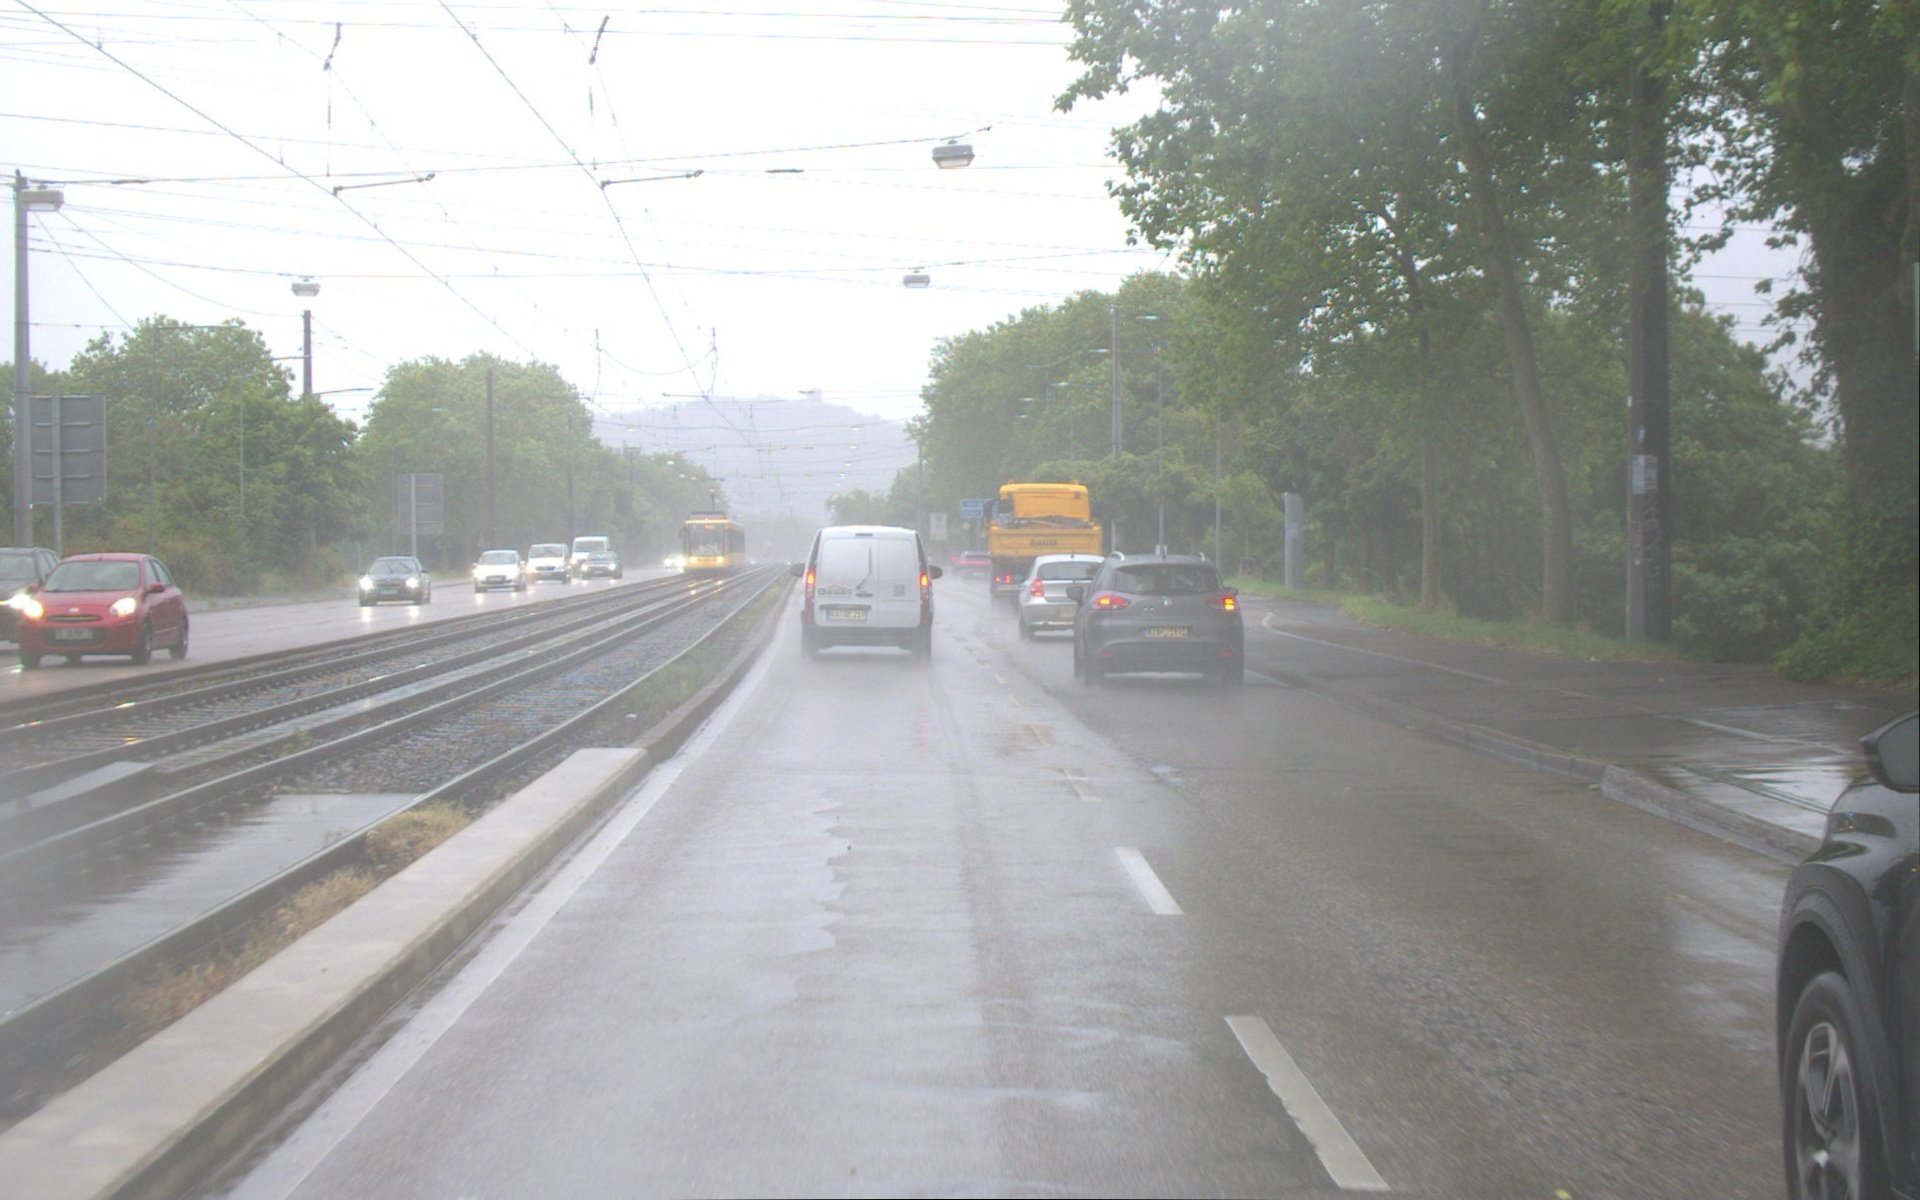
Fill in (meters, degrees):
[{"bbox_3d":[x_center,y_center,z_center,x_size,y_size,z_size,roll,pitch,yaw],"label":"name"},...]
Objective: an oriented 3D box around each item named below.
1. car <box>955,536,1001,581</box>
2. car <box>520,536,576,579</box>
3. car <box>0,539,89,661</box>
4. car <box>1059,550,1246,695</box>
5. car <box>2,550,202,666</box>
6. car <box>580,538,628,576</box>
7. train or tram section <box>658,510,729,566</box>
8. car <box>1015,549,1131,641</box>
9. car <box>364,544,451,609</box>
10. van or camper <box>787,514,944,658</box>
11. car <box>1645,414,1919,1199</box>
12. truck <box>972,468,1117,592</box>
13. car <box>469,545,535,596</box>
[{"bbox_3d":[0.793,-1.858,152.195,1.993,1.897,4.000,1,1,0],"label":"car"},{"bbox_3d":[-18.771,-1.968,156.868,1.993,1.897,4.000,1,1,1],"label":"car"},{"bbox_3d":[-15.036,-0.035,53.279,1.993,1.809,4.000,0,1,1],"label":"car"},{"bbox_3d":[2.052,0.209,37.590,1.818,1.409,3.779,1,2,0],"label":"car"},{"bbox_3d":[-11.613,0.075,46.762,1.657,1.481,4.013,0,1,1],"label":"car"},{"bbox_3d":[-18.487,-2.259,178.690,1.993,1.897,4.000,1,1,1],"label":"car"},{"bbox_3d":[-14.562,-3.447,188.599,2.850,2.884,14.007,-1,1,0],"label":"train or tram section"},{"bbox_3d":[1.869,-0.111,57.896,1.818,1.409,3.779,1,2,0],"label":"car"},{"bbox_3d":[-17.098,-0.750,106.484,1.993,1.897,4.000,1,1,1],"label":"car"},{"bbox_3d":[-1.334,-0.229,46.919,1.993,1.778,4.001,1,2,-3],"label":"van or camper"},{"bbox_3d":[2.575,0.568,5.444,1.899,1.711,4.726,1,2,-1],"label":"car"},{"bbox_3d":[1.907,-1.648,80.180,3.113,2.763,6.330,0,1,-1],"label":"truck"},{"bbox_3d":[-18.006,-1.170,135.395,1.993,1.897,4.000,1,1,1],"label":"car"}]
